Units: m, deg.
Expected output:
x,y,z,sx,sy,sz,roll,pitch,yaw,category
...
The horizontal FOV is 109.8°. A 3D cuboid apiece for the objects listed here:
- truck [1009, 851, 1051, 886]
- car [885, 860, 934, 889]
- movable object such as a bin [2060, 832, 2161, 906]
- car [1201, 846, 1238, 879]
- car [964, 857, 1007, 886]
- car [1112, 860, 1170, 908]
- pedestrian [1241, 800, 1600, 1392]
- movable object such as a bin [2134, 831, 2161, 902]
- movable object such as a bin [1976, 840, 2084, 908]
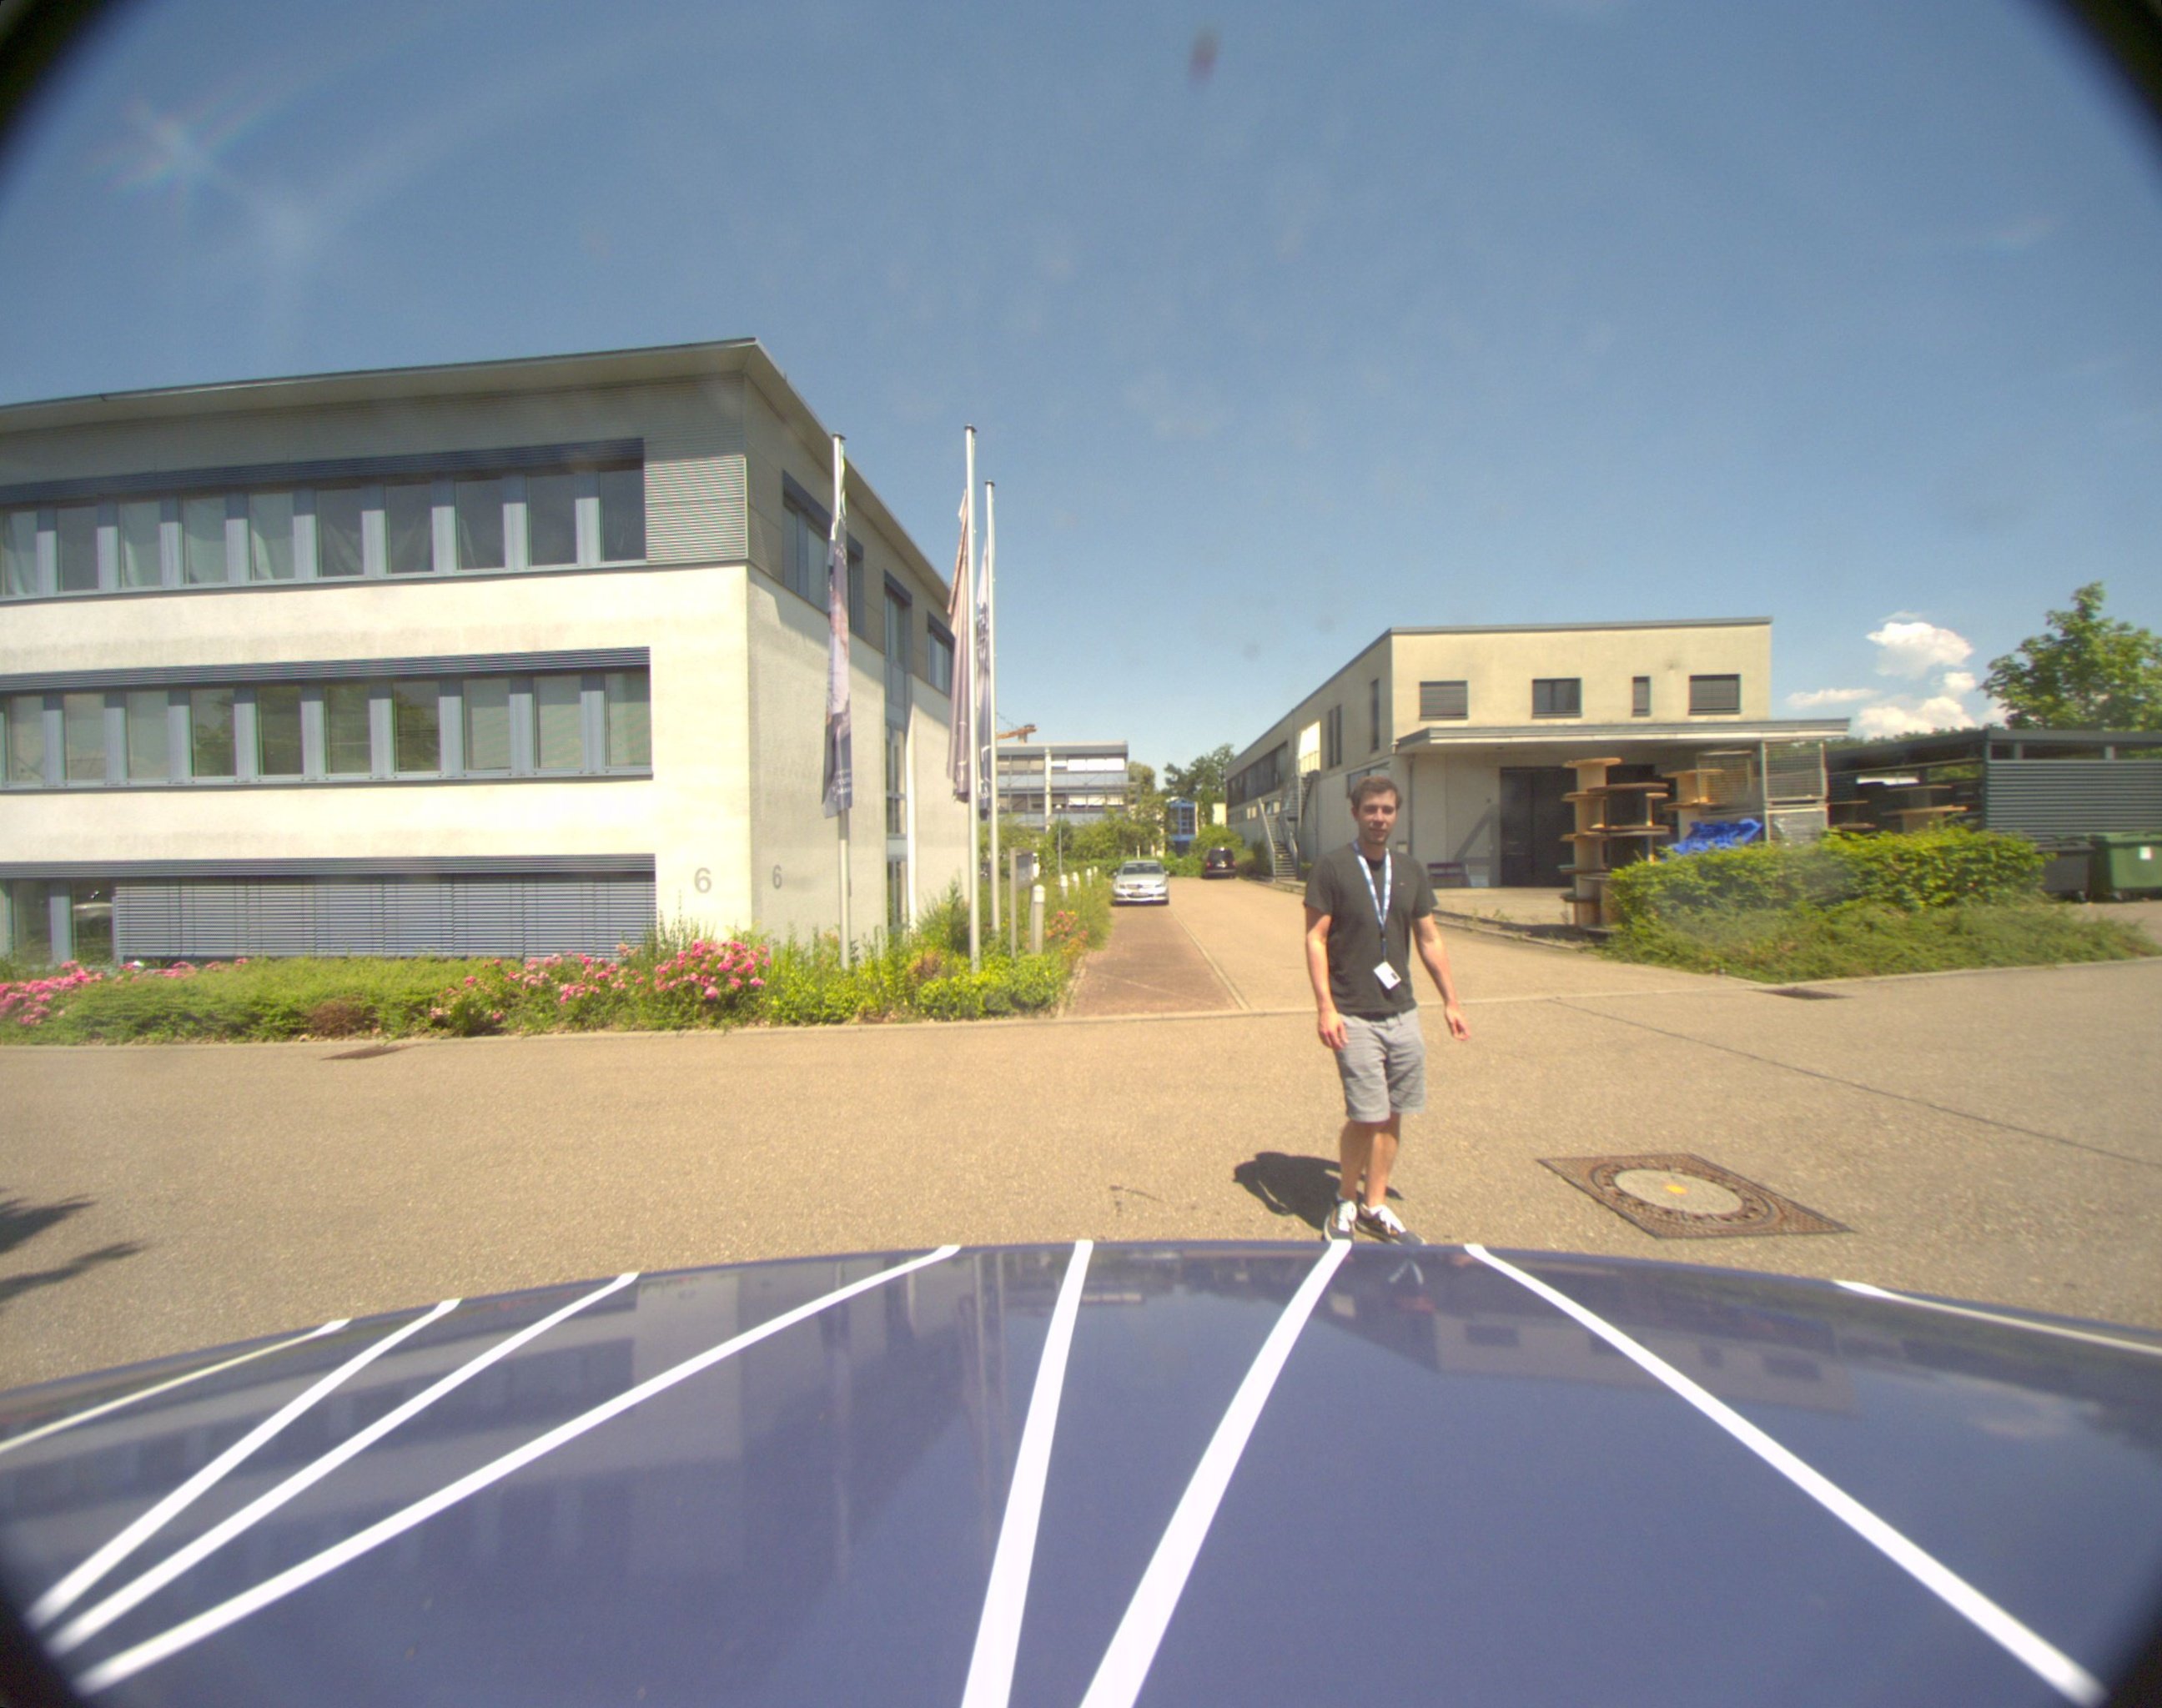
x,y,z,sx,sy,sz,roll,pitch,yaw,category
-2.963,0.812,45.188,1.998,1.882,4.000,-2,0,2,truck
-10.408,1.213,46.383,1.787,1.537,4.000,-2,1,4,car
19.739,0.279,14.487,1.071,1.329,0.760,-2,1,8,movable object such as a bin
8.210,0.447,45.391,1.787,1.793,4.001,-2,1,5,car
-5.688,1.033,45.903,1.787,1.537,4.000,-2,1,4,car
2.070,0.935,25.192,1.710,1.383,3.813,-1,0,7,car
1.153,0.753,2.810,0.860,1.809,0.904,-2,1,-1,pedestrian
21.087,0.221,14.406,1.071,1.329,0.760,-2,1,8,movable object such as a bin
18.424,0.374,14.783,1.071,1.263,0.760,-2,1,8,movable object such as a bin
